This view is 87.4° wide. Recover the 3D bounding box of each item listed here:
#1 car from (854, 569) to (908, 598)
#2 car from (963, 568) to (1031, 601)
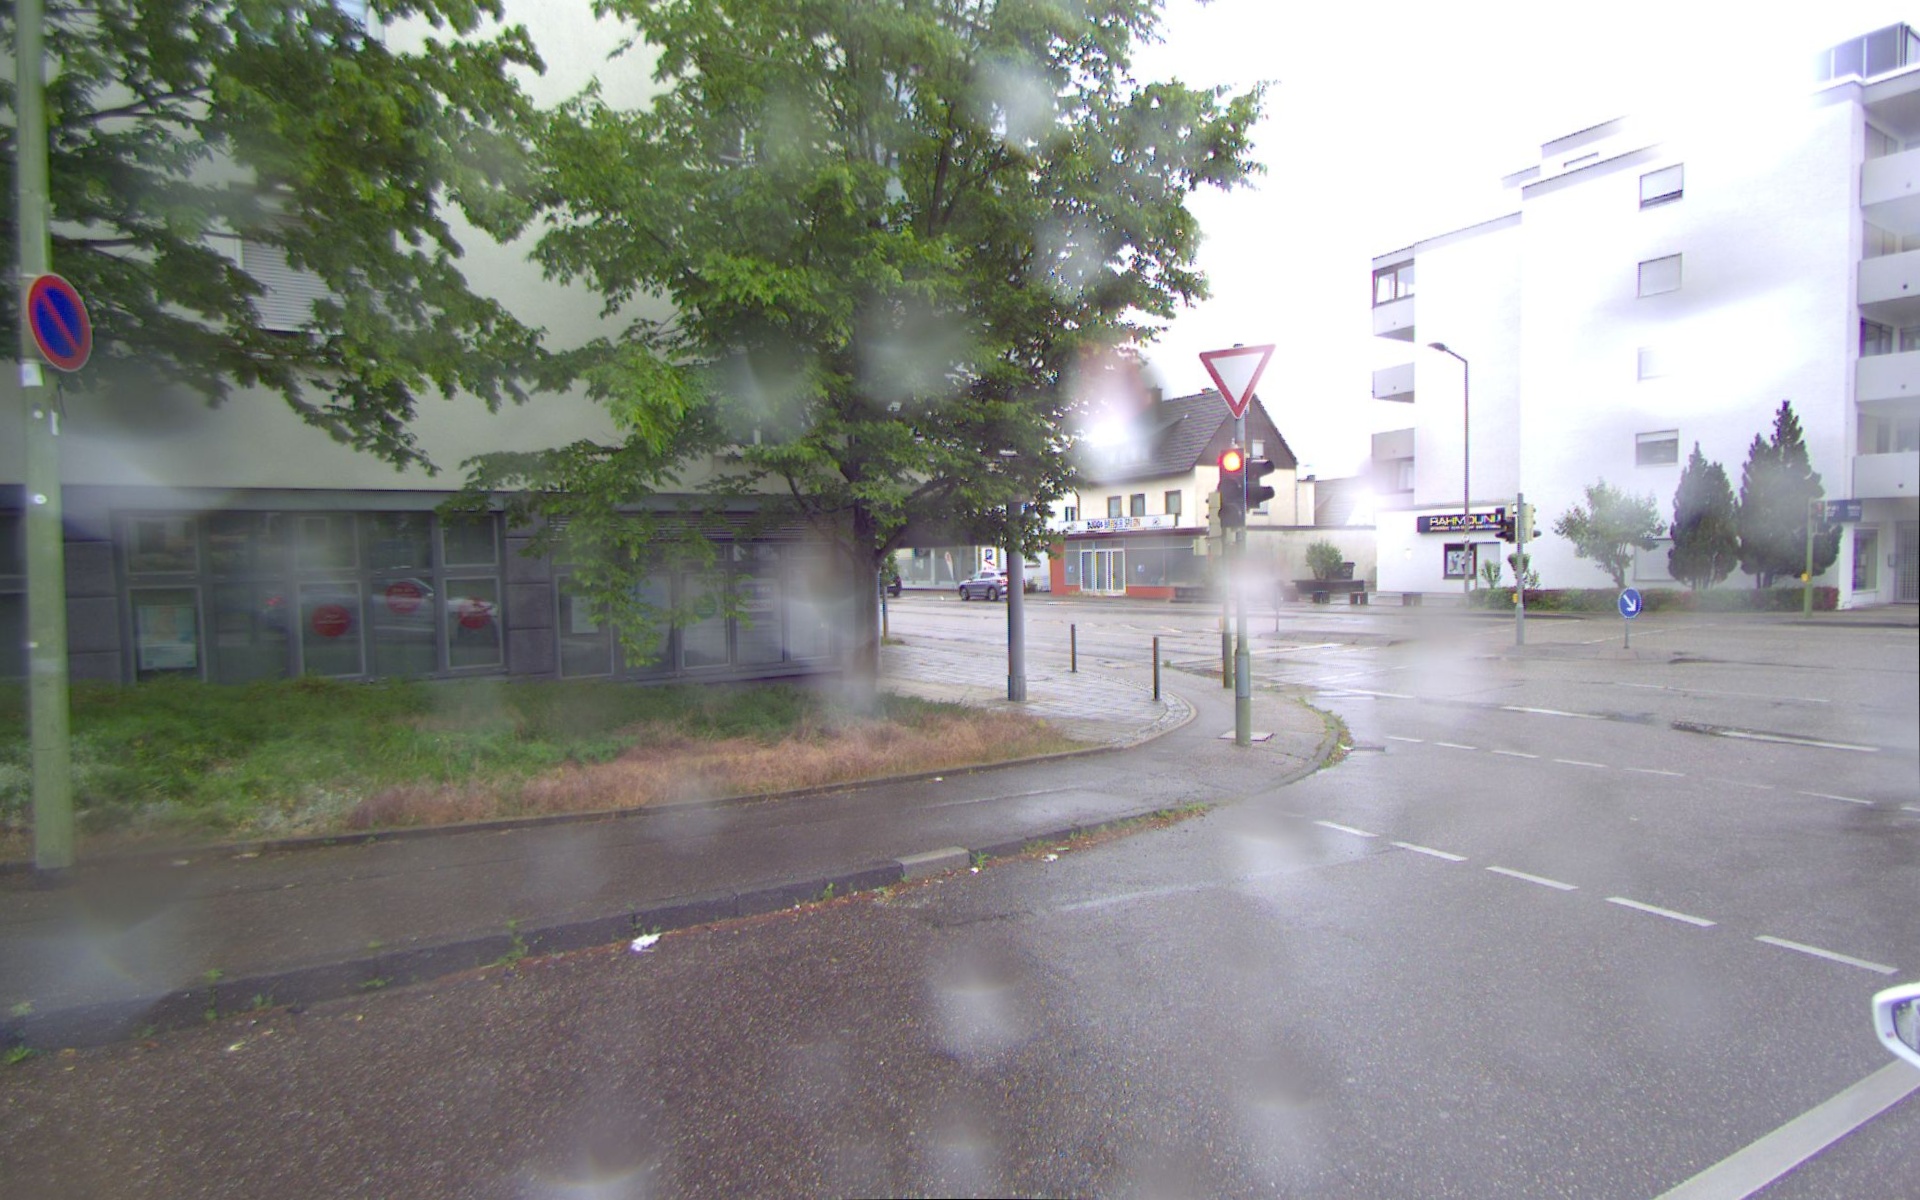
[{"bbox_3d":[-5.265,-1.121,66.531,2.087,1.719,3.968,-1,4,-30],"label":"car"},{"bbox_3d":[2.006,-0.875,55.901,1.976,1.718,3.968,-1,3,-30],"label":"car"}]
